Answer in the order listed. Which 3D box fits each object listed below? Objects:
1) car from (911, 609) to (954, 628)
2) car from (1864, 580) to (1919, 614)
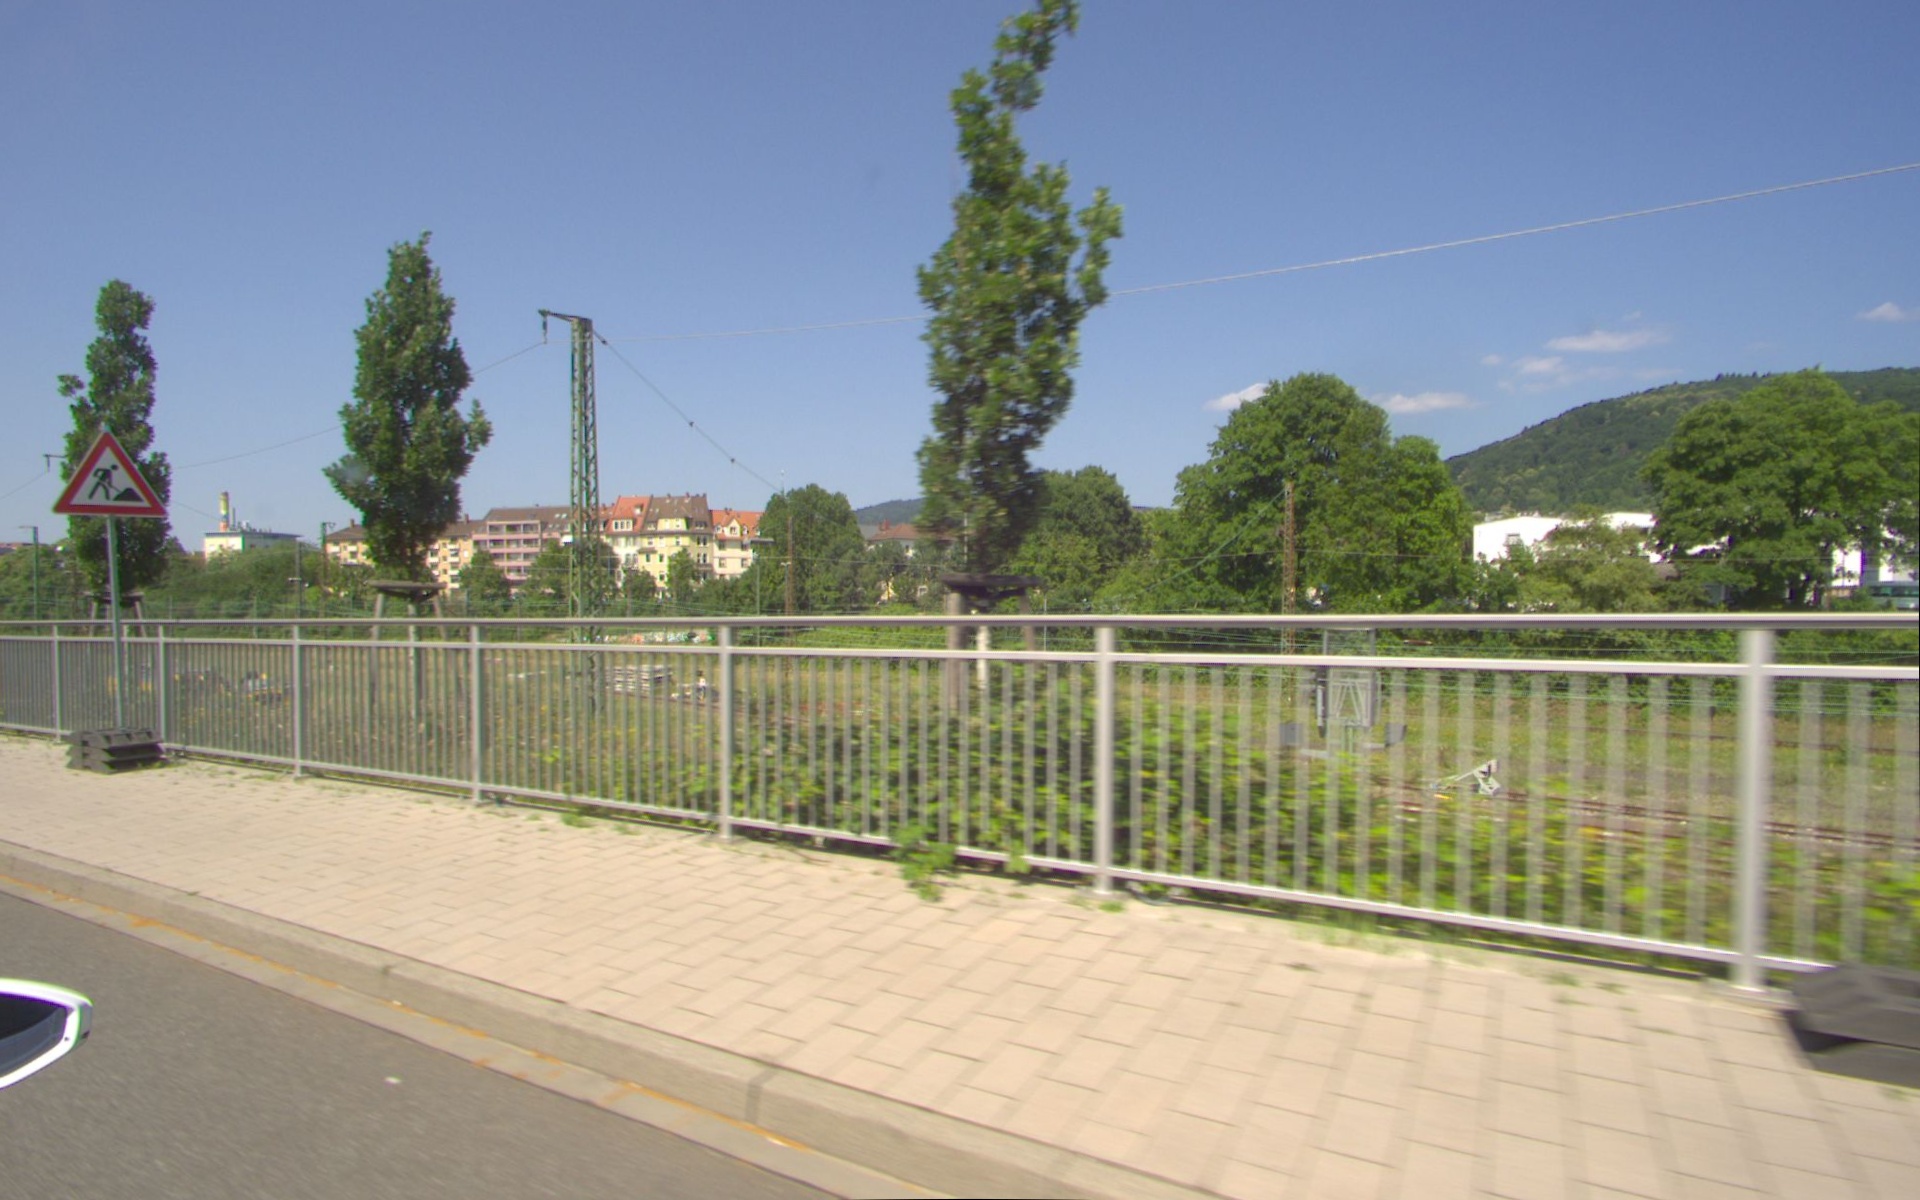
[{"bbox_3d":[-3.275,2.179,119.593,4.922,2.141,1.988,0,1,34],"label":"car"},{"bbox_3d":[62.195,-0.203,65.047,4.925,2.141,1.987,0,1,36],"label":"car"}]
